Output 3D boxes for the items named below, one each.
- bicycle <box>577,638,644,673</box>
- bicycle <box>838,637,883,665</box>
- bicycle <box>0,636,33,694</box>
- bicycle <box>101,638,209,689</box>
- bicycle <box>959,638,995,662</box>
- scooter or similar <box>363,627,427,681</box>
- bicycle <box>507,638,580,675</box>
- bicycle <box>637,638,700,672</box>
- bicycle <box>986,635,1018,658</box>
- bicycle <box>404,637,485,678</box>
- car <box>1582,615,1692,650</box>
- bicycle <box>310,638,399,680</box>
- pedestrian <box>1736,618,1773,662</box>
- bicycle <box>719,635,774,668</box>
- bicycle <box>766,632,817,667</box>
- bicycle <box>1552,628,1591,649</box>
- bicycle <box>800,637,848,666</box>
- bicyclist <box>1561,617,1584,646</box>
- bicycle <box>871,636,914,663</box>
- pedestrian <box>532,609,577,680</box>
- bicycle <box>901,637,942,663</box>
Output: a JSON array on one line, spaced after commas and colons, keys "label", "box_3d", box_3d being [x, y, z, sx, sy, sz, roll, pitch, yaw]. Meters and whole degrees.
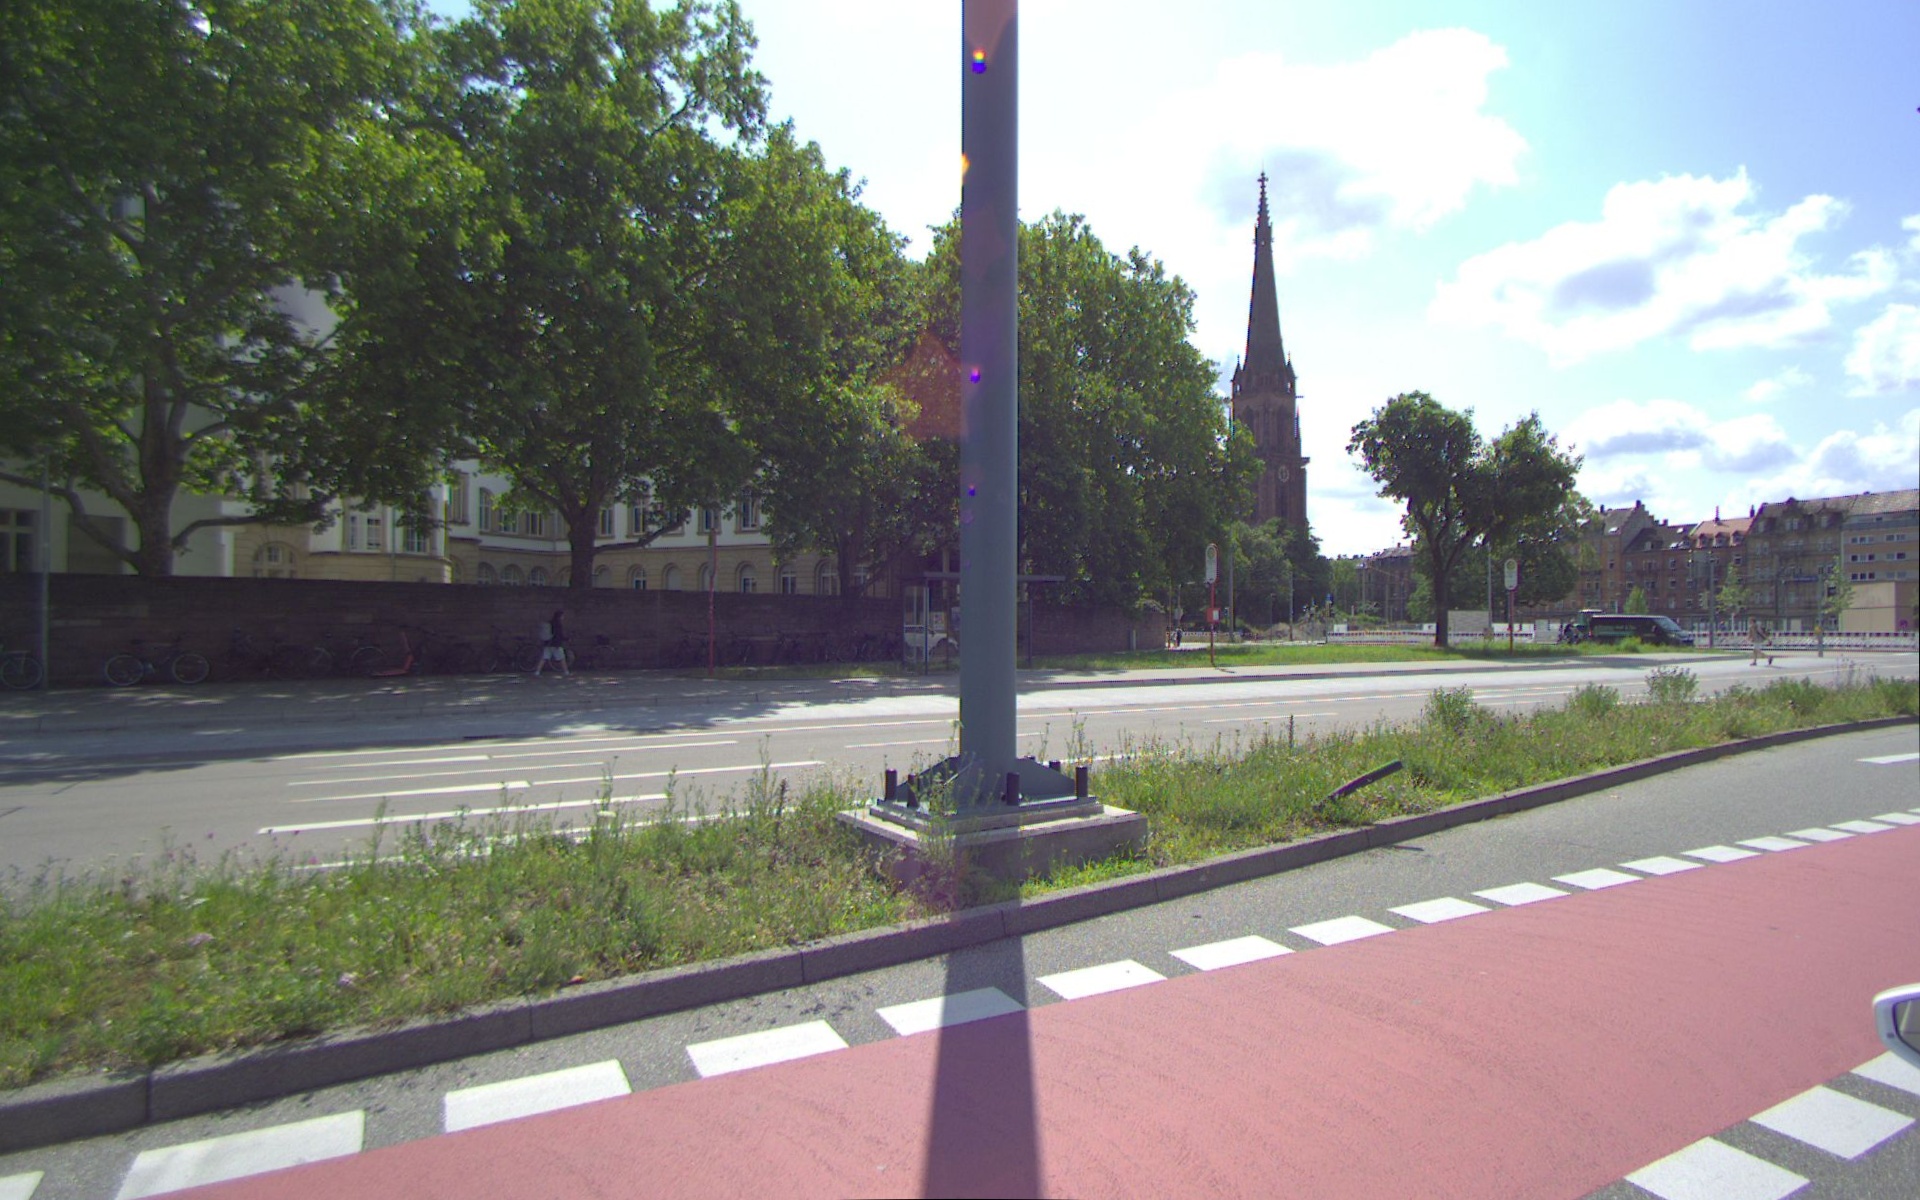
[{"label": "bicycle", "box_3d": [-9.418, 1.490, 27.111, 1.648, 0.914, 0.499, 1, -1, -34]}, {"label": "bicycle", "box_3d": [-3.447, 1.755, 34.812, 0.537, 0.914, 1.658, 0, -1, 39]}, {"label": "bicycle", "box_3d": [-18.185, 1.191, 18.308, 1.881, 1.061, 0.539, 1, -1, -42]}, {"label": "bicycle", "box_3d": [-16.109, 1.256, 20.118, 1.653, 0.962, 0.539, 1, -1, -42]}, {"label": "bicycle", "box_3d": [0.687, 2.019, 40.490, 0.537, 0.914, 1.658, 0, -1, 39]}, {"label": "scooter or similar", "box_3d": [-12.813, 1.209, 22.784, 0.426, 1.199, 1.187, -1, -1, 39]}, {"label": "bicycle", "box_3d": [-10.760, 1.451, 25.972, 1.654, 0.914, 0.538, 1, -1, -45]}, {"label": "bicycle", "box_3d": [-8.306, 1.553, 28.665, 0.538, 0.914, 1.655, -1, -1, 45]}, {"label": "bicycle", "box_3d": [1.773, 1.935, 42.271, 0.536, 0.914, 1.660, 0, -1, 35]}, {"label": "bicycle", "box_3d": [-12.376, 1.368, 24.147, 1.653, 0.914, 0.539, 1, -1, -42]}, {"label": "car", "box_3d": [39.064, 1.839, 58.088, 1.907, 1.904, 4.981, 0, -1, -32]}, {"label": "bicycle", "box_3d": [-13.735, 1.315, 22.817, 1.653, 0.914, 0.539, 2, -2, -42]}, {"label": "pedestrian", "box_3d": [28.543, 1.438, 36.090, 0.858, 1.580, 0.556, 0, -1, 13]}, {"label": "bicycle", "box_3d": [-6.523, 1.560, 30.756, 0.538, 0.964, 1.656, -1, -1, 43]}, {"label": "bicycle", "box_3d": [-5.365, 1.559, 31.981, 0.538, 1.065, 1.614, -1, -1, 43]}, {"label": "bicycle", "box_3d": [38.757, 2.439, 63.640, 0.598, 1.307, 2.050, 1, -1, -36]}, {"label": "bicycle", "box_3d": [-4.511, 1.694, 33.461, 0.537, 0.914, 1.658, 0, -1, 39]}, {"label": "bicyclist", "box_3d": [38.832, 1.992, 63.666, 0.587, 1.869, 1.111, 0, -1, -36]}, {"label": "bicycle", "box_3d": [-2.419, 1.774, 36.156, 0.537, 0.914, 1.658, 0, -1, 39]}, {"label": "pedestrian", "box_3d": [-9.592, 1.030, 23.771, 0.607, 1.638, 0.754, 1, 0, 39]}, {"label": "bicycle", "box_3d": [-1.429, 1.872, 37.638, 0.446, 0.914, 1.786, 0, -1, 39]}]
